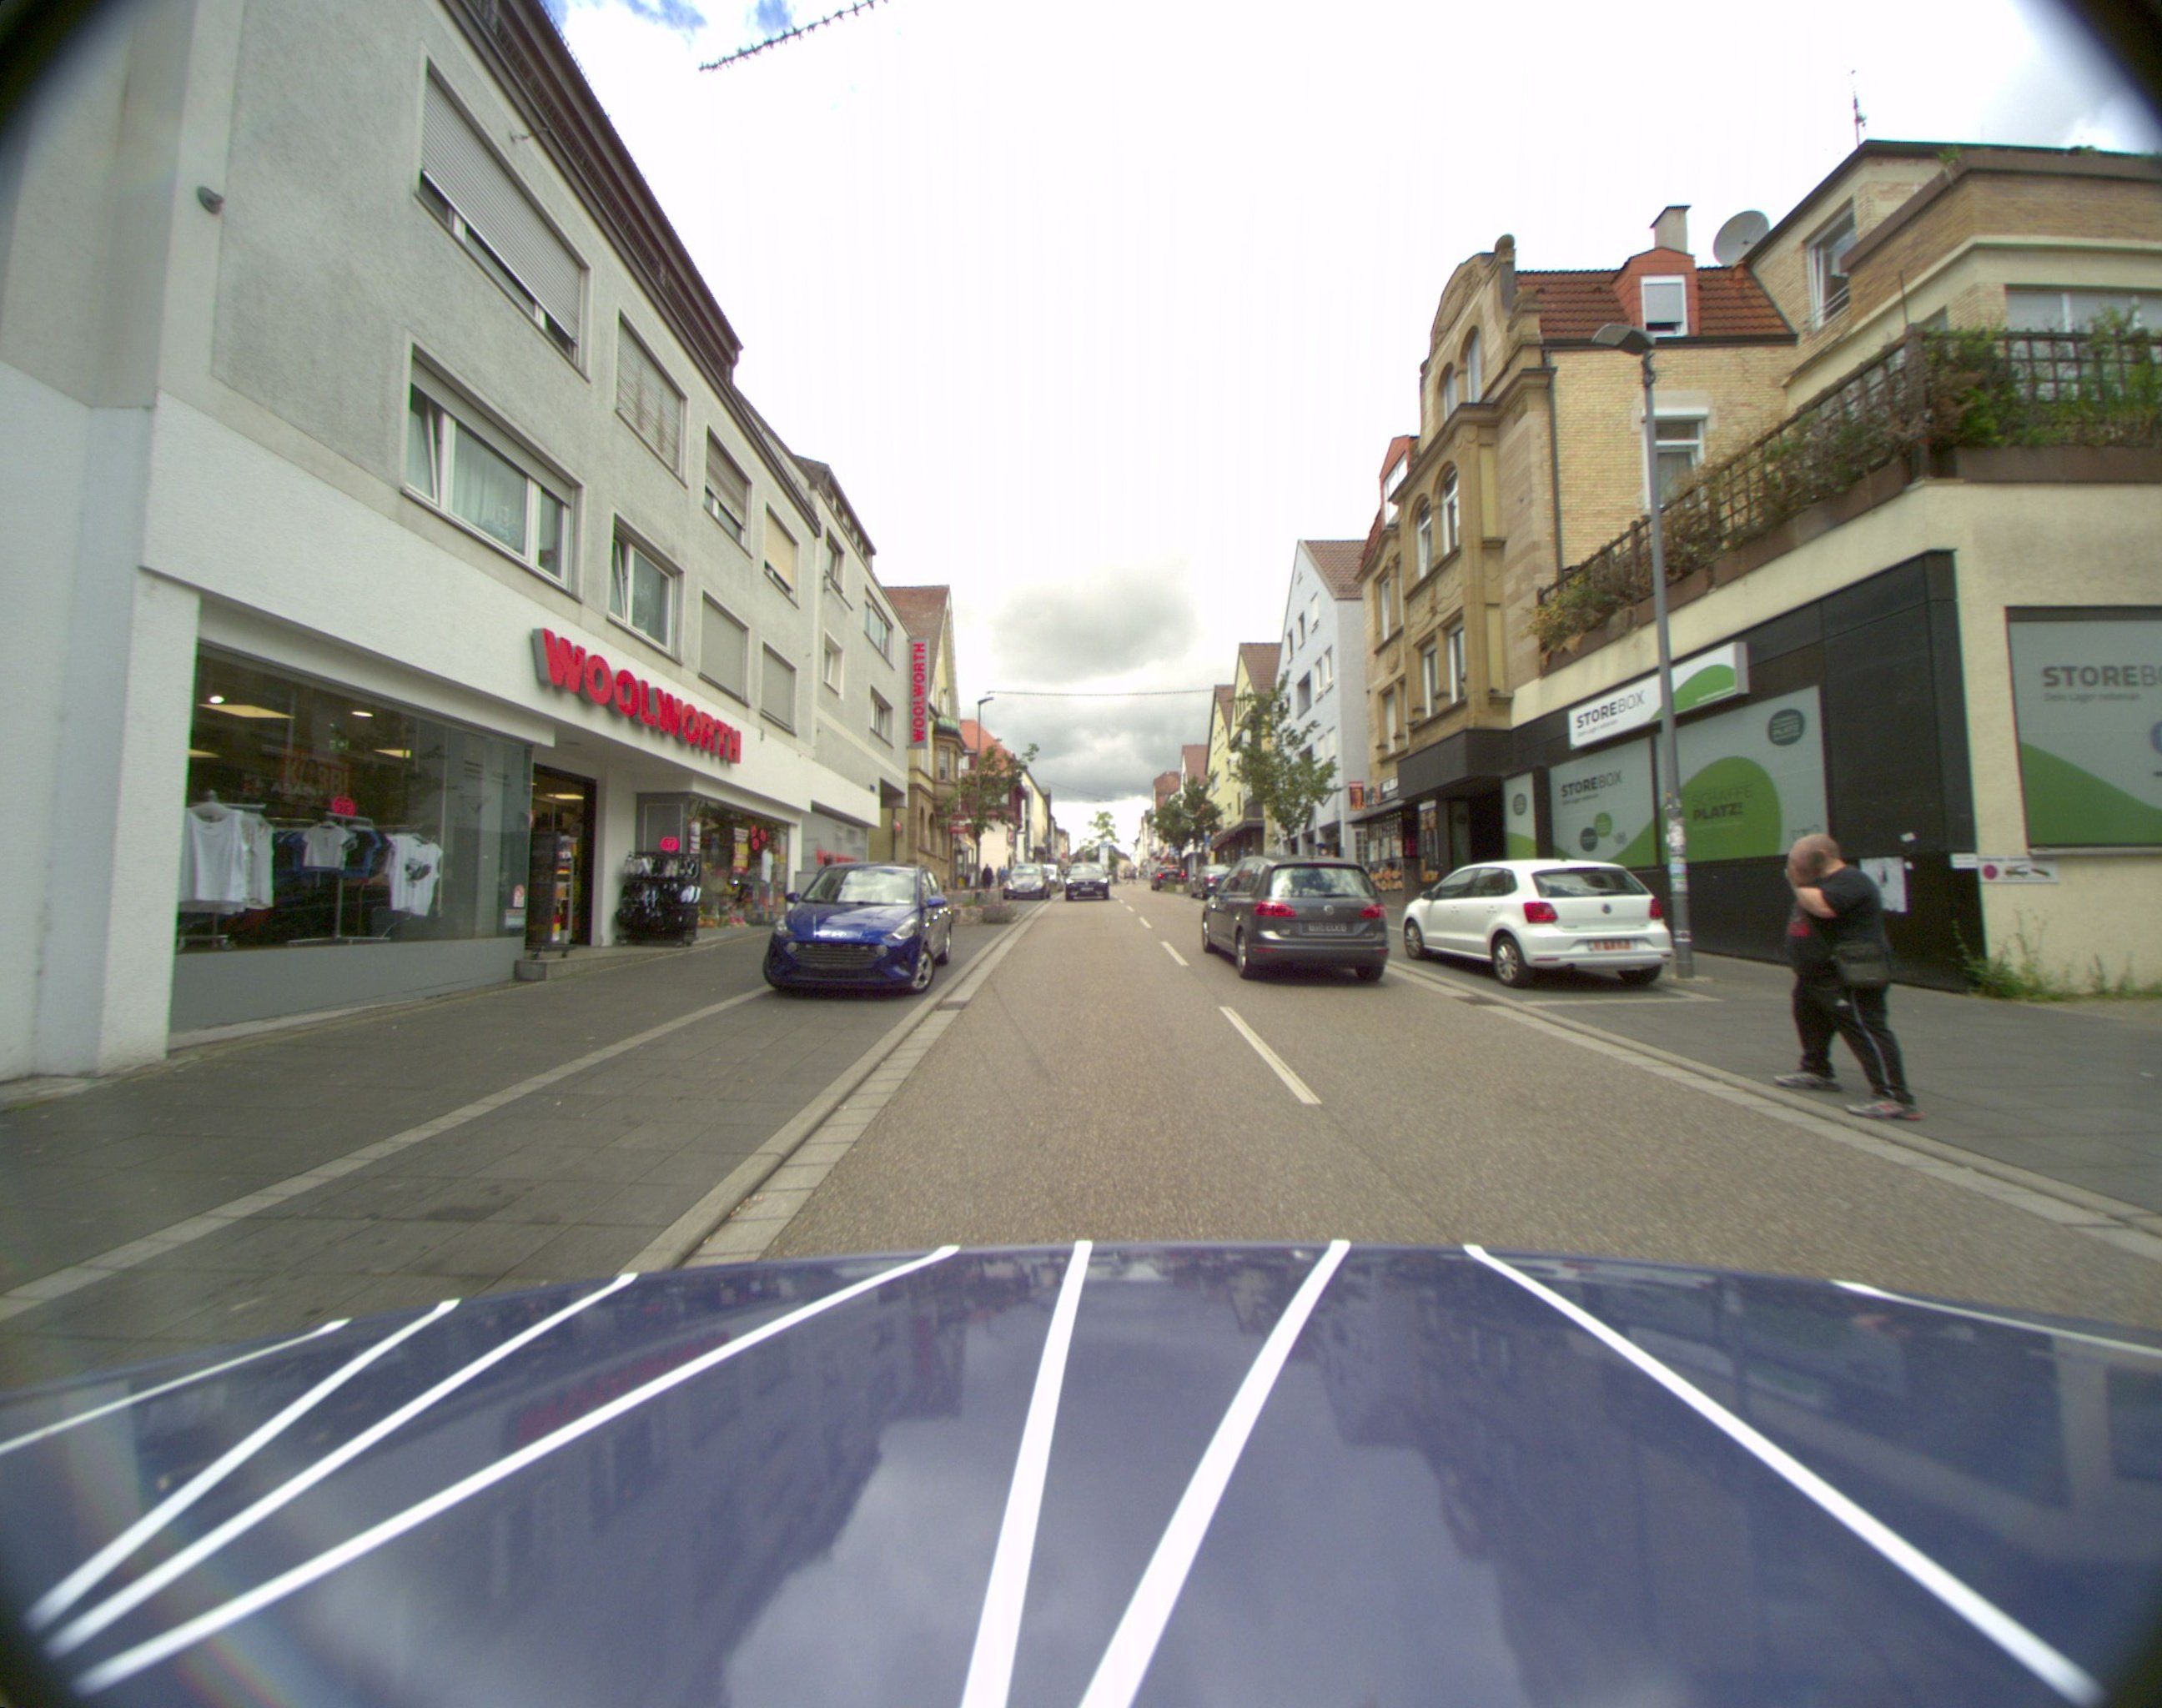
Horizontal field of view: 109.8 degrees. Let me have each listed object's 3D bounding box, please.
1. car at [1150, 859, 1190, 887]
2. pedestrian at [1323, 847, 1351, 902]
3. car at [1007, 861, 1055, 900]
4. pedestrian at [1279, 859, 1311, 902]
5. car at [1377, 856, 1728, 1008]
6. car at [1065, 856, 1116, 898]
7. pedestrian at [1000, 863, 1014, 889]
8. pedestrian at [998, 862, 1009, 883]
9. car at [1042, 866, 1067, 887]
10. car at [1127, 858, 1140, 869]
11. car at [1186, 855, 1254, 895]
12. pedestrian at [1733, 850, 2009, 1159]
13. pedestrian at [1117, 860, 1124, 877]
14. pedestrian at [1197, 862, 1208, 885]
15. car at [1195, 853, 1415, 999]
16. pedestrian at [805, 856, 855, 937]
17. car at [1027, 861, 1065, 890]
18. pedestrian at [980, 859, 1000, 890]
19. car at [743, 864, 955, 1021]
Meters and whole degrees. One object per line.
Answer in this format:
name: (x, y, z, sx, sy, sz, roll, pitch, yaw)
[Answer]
car: (5.767, 1.264, 49.780, 2.012, 1.683, 4.608, -2, -2, 0)
pedestrian: (8.119, 0.651, 24.098, 0.588, 1.703, 0.710, -3, 0, 0)
car: (-2.150, 1.123, 33.392, 1.752, 1.598, 3.801, 1, -1, 1)
pedestrian: (7.461, 0.918, 26.523, 0.828, 1.454, 0.810, -3, 0, 0)
car: (5.788, 0.855, 10.112, 1.931, 1.502, 4.262, -3, -1, -1)
car: (0.362, 0.942, 32.484, 1.914, 1.559, 4.372, -4, 0, -1)
pedestrian: (-5.027, 1.493, 51.540, 0.798, 1.716, 1.053, 0, 0, 1)
pedestrian: (-6.499, 1.550, 63.909, 0.776, 1.758, 0.818, -1, 0, 2)
car: (-1.887, 1.592, 54.073, 1.707, 1.458, 4.000, 0, -1, -2)
car: (8.141, 1.410, 117.816, 1.968, 1.611, 4.356, -2, 0, 3)
car: (5.827, 0.886, 32.497, 1.931, 1.483, 4.843, -3, -1, -1)
pedestrian: (4.658, 0.817, 4.553, 0.739, 1.662, 0.863, -1, 0, -2)
pedestrian: (4.088, 1.528, 78.589, 0.696, 1.729, 0.825, 0, -1, 3)
pedestrian: (9.059, 1.432, 56.473, 0.638, 1.728, 0.836, 1, 0, -2)
car: (2.840, 0.815, 10.660, 1.823, 1.608, 4.135, 1, 0, 0)
pedestrian: (-4.956, 0.819, 15.043, 0.758, 1.551, 0.817, 0, 0, -2)
car: (-2.206, 1.357, 49.304, 1.881, 1.788, 4.734, -1, -1, 4)
pedestrian: (-4.818, 1.083, 40.270, 0.825, 1.656, 0.802, -1, 0, 7)
car: (-2.690, 0.943, 9.701, 1.753, 1.489, 3.798, 2, 1, -4)
